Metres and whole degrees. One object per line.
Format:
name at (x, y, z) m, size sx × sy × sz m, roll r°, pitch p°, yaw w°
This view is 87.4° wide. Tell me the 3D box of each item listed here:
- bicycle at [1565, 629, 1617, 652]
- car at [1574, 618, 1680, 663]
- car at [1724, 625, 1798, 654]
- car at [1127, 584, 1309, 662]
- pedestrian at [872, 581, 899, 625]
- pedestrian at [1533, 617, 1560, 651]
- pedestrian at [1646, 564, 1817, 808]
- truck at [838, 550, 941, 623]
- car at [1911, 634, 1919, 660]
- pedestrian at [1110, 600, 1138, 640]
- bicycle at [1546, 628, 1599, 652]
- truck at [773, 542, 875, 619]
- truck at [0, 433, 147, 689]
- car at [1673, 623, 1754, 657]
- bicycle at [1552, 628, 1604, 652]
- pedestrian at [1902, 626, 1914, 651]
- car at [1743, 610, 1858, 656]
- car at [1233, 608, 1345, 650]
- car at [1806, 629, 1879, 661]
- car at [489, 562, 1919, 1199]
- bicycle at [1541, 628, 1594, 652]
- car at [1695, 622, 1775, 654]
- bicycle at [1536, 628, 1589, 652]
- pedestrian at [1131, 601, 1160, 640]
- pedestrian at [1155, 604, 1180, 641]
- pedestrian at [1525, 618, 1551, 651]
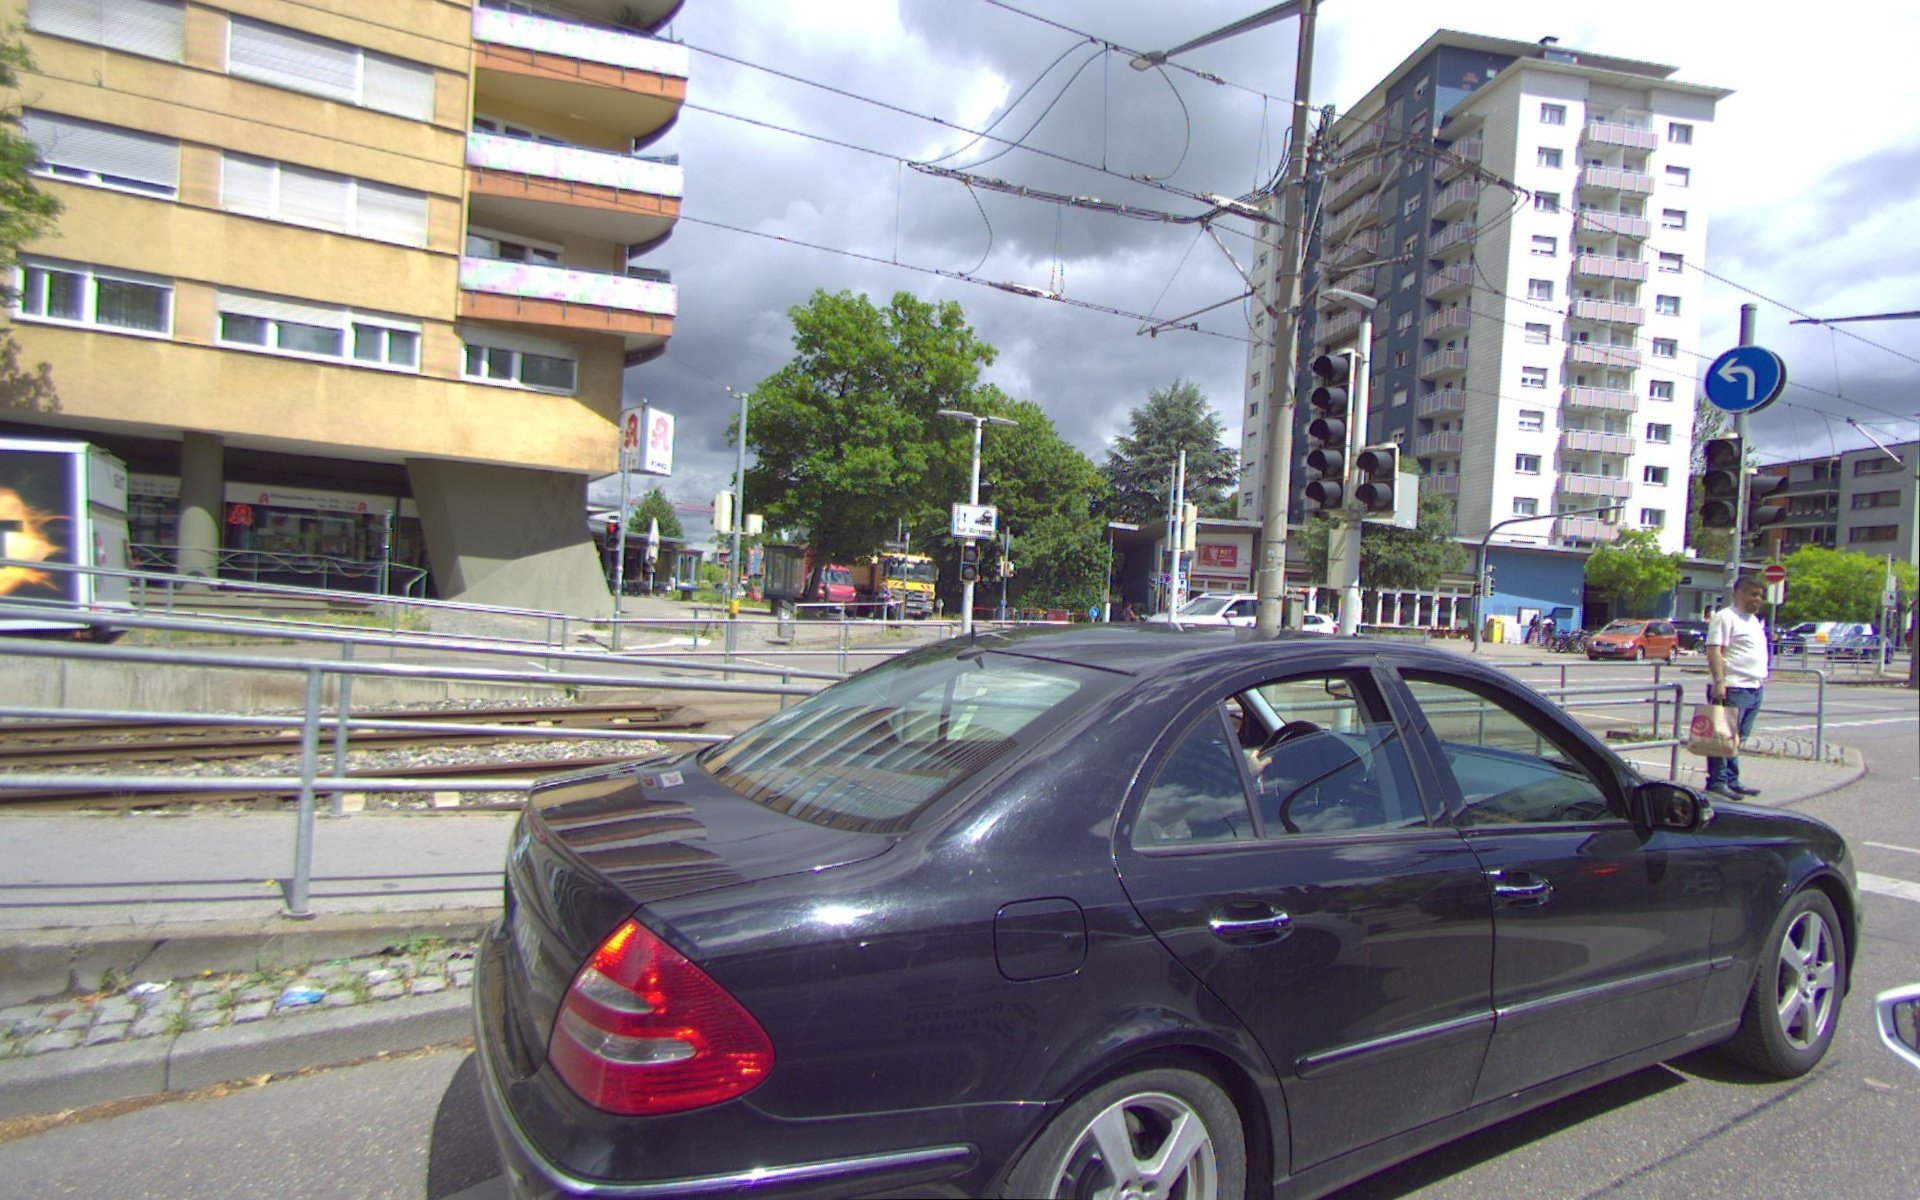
bicycle at (28.246, 1.802, 44.969) m, size 0.490 × 0.947 × 1.934 m, roll 2°, pitch 0°, yaw -35°
car at (26.053, 1.544, 39.185) m, size 4.415 × 1.656 × 1.981 m, roll 1°, pitch -1°, yaw -35°
car at (45.312, 2.222, 56.915) m, size 1.754 × 1.439 × 4.219 m, roll 2°, pitch 0°, yaw 16°
car at (6.562, 0.590, 25.411) m, size 4.462 × 1.825 × 1.982 m, roll 2°, pitch -1°, yaw -33°
pedestrian at (-2.886, 0.097, 39.078) m, size 0.770 × 1.638 × 0.759 m, roll -1°, pitch 5°, yaw -29°
pedestrian at (29.829, 1.739, 51.118) m, size 0.929 × 1.681 × 1.099 m, roll 2°, pitch -1°, yaw 18°
pedestrian at (6.220, 0.648, 8.114) m, size 0.734 × 1.832 × 0.863 m, roll 1°, pitch 1°, yaw -33°
truck at (-3.604, -0.621, 49.204) m, size 2.733 × 3.244 × 7.443 m, roll 1°, pitch 0°, yaw -23°
car at (54.675, 2.662, 55.804) m, size 4.445 × 1.418 × 1.625 m, roll 2°, pitch 0°, yaw -33°
pedestrian at (7.198, 0.874, 44.002) m, size 0.977 × 1.681 × 0.969 m, roll 2°, pitch -1°, yaw -4°
bicycle at (26.898, 1.756, 44.109) m, size 0.490 × 0.947 × 1.934 m, roll 2°, pitch 0°, yaw -35°
truck at (-6.770, -0.889, 48.768) m, size 2.692 × 3.320 × 8.877 m, roll 1°, pitch 0°, yaw -22°
truck at (-15.014, -0.530, 12.586) m, size 7.175 × 3.266 × 2.403 m, roll 0°, pitch 1°, yaw -30°
car at (40.128, 2.112, 53.621) m, size 1.921 × 1.591 × 4.220 m, roll 2°, pitch 0°, yaw 13°
bicycle at (27.284, 1.770, 44.381) m, size 0.490 × 0.947 × 1.934 m, roll 2°, pitch 0°, yaw -35°
pedestrian at (66.997, 2.711, 70.985) m, size 0.401 × 1.739 × 0.542 m, roll 1°, pitch 1°, yaw -39°
car at (49.789, 1.880, 59.766) m, size 2.776 × 2.512 × 6.724 m, roll 2°, pitch 0°, yaw 17°
car at (12.555, 1.105, 38.585) m, size 3.919 × 1.416 × 1.699 m, roll 2°, pitch 0°, yaw 14°
car at (44.388, 2.235, 50.504) m, size 4.207 × 1.433 × 1.620 m, roll 1°, pitch 0°, yaw -32°
car at (1.046, 0.733, 3.208) m, size 4.490 × 1.481 × 1.720 m, roll 2°, pitch 0°, yaw -30°
bicycle at (26.487, 1.742, 43.820) m, size 0.490 × 0.947 × 1.934 m, roll 2°, pitch 0°, yaw -35°
car at (42.785, 2.088, 55.557) m, size 1.921 × 1.558 × 4.220 m, roll 2°, pitch 0°, yaw 13°
bicycle at (26.105, 1.729, 43.526) m, size 0.490 × 0.947 × 1.934 m, roll 2°, pitch 0°, yaw -35°
pedestrian at (8.163, 0.905, 44.242) m, size 0.977 × 1.681 × 0.969 m, roll 2°, pitch -1°, yaw -4°
pedestrian at (9.688, 1.050, 46.981) m, size 0.766 × 1.636 × 0.765 m, roll 7°, pitch 1°, yaw -5°
pedestrian at (30.142, 1.775, 52.387) m, size 0.929 × 1.681 × 1.099 m, roll 2°, pitch -1°, yaw 18°
